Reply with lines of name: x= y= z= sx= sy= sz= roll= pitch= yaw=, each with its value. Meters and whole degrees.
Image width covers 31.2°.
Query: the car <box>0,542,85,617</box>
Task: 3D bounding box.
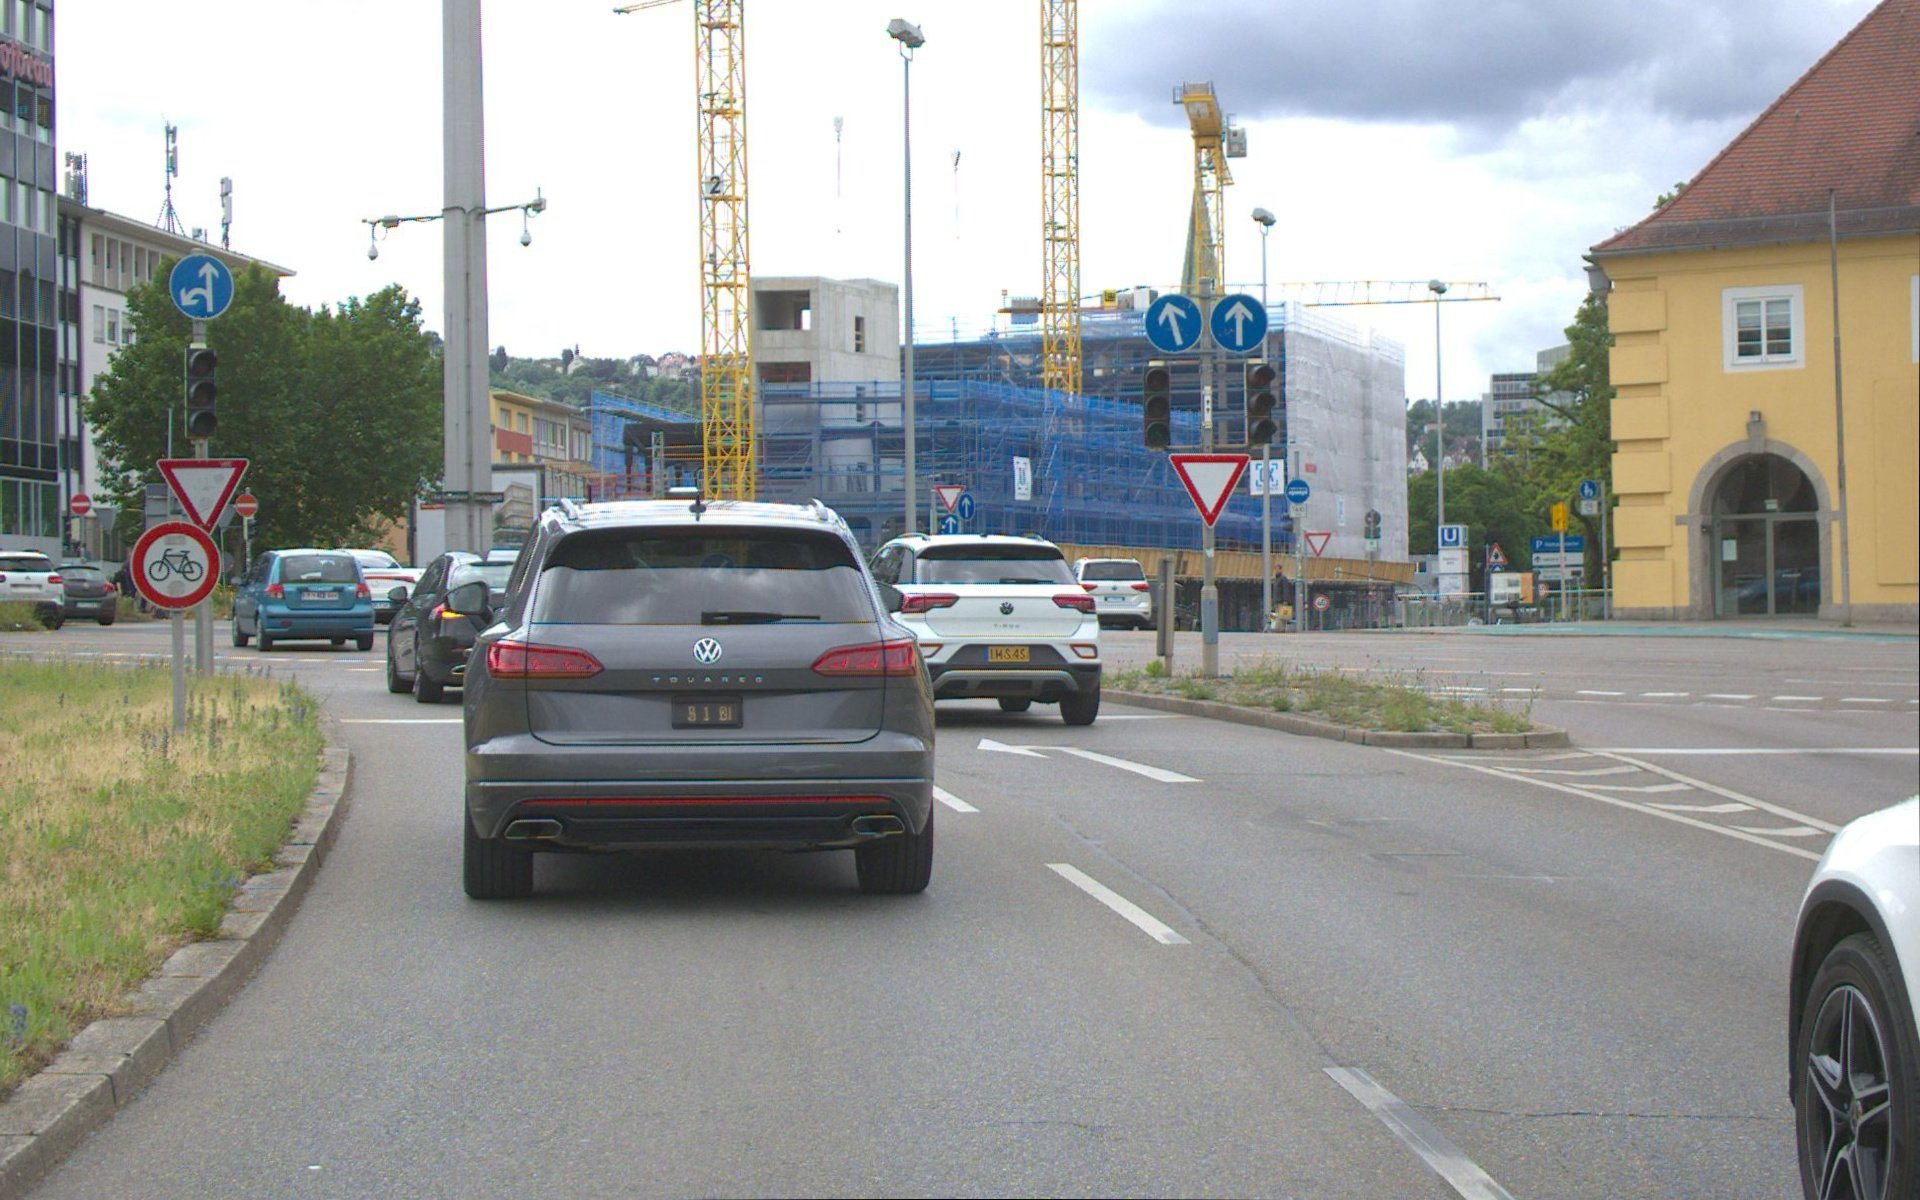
car: x=-20.096 y=-0.449 z=71.999 sx=1.815 sy=1.491 sz=3.904 roll=-1 pitch=2 yaw=-43

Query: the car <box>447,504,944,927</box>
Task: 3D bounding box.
car: x=-1.272 y=0.395 z=15.435 sx=1.932 sy=1.641 sz=4.001 roll=0 pitch=2 yaw=-7

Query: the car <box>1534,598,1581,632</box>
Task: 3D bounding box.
car: x=36.357 y=0.904 z=209.292 sx=1.993 sy=2.007 sz=4.001 roll=0 pitch=1 yaw=-3

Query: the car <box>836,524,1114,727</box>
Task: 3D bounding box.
car: x=0.056 y=0.163 z=29.091 sx=1.893 sy=1.580 sz=3.802 roll=0 pitch=2 yaw=-7

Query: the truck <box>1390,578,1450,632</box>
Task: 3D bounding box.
truck: x=21.776 y=0.214 z=162.484 sx=2.129 sy=2.445 sz=4.824 roll=1 pitch=1 yaw=16

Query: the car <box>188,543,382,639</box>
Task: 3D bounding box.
car: x=-9.960 y=-0.161 z=50.536 sx=1.792 sy=1.352 sz=4.071 roll=0 pitch=1 yaw=-26

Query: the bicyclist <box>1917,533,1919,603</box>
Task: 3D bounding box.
bicyclist: x=16.331 y=-0.522 z=56.554 sx=0.923 sy=1.155 sz=0.725 roll=1 pitch=1 yaw=-4

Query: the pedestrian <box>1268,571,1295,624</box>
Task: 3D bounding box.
pedestrian: x=7.882 y=-0.067 z=84.253 sx=0.549 sy=1.277 sz=0.462 roll=1 pitch=1 yaw=17

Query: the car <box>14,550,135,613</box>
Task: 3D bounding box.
car: x=-20.420 y=-0.440 z=79.192 sx=1.640 sy=1.392 sz=3.597 roll=0 pitch=1 yaw=-33

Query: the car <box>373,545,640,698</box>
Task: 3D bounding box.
car: x=-4.387 y=0.157 z=32.749 sx=1.792 sy=1.352 sz=4.071 roll=0 pitch=1 yaw=-18

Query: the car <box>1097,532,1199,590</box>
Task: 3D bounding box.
car: x=5.547 y=-1.173 z=100.906 sx=1.990 sy=1.661 sz=3.977 roll=1 pitch=1 yaw=19

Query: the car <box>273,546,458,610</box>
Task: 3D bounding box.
car: x=-10.941 y=-0.423 z=63.118 sx=1.670 sy=1.135 sz=4.069 roll=-1 pitch=1 yaw=-37

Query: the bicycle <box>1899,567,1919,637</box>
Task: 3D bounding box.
bicycle: x=16.323 y=0.047 z=56.565 sx=0.923 sy=1.155 sz=2.465 roll=1 pitch=1 yaw=-4

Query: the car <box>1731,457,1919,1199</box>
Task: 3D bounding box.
car: x=2.726 y=0.593 z=5.265 sx=1.818 sy=1.641 sz=4.380 roll=0 pitch=2 yaw=-4

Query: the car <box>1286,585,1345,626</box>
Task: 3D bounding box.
car: x=13.665 y=0.189 z=131.958 sx=1.804 sy=1.497 sz=3.979 roll=0 pitch=1 yaw=13

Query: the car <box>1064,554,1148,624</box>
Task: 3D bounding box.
car: x=3.298 y=-0.267 z=77.099 sx=1.803 sy=1.497 sz=3.981 roll=0 pitch=1 yaw=3
